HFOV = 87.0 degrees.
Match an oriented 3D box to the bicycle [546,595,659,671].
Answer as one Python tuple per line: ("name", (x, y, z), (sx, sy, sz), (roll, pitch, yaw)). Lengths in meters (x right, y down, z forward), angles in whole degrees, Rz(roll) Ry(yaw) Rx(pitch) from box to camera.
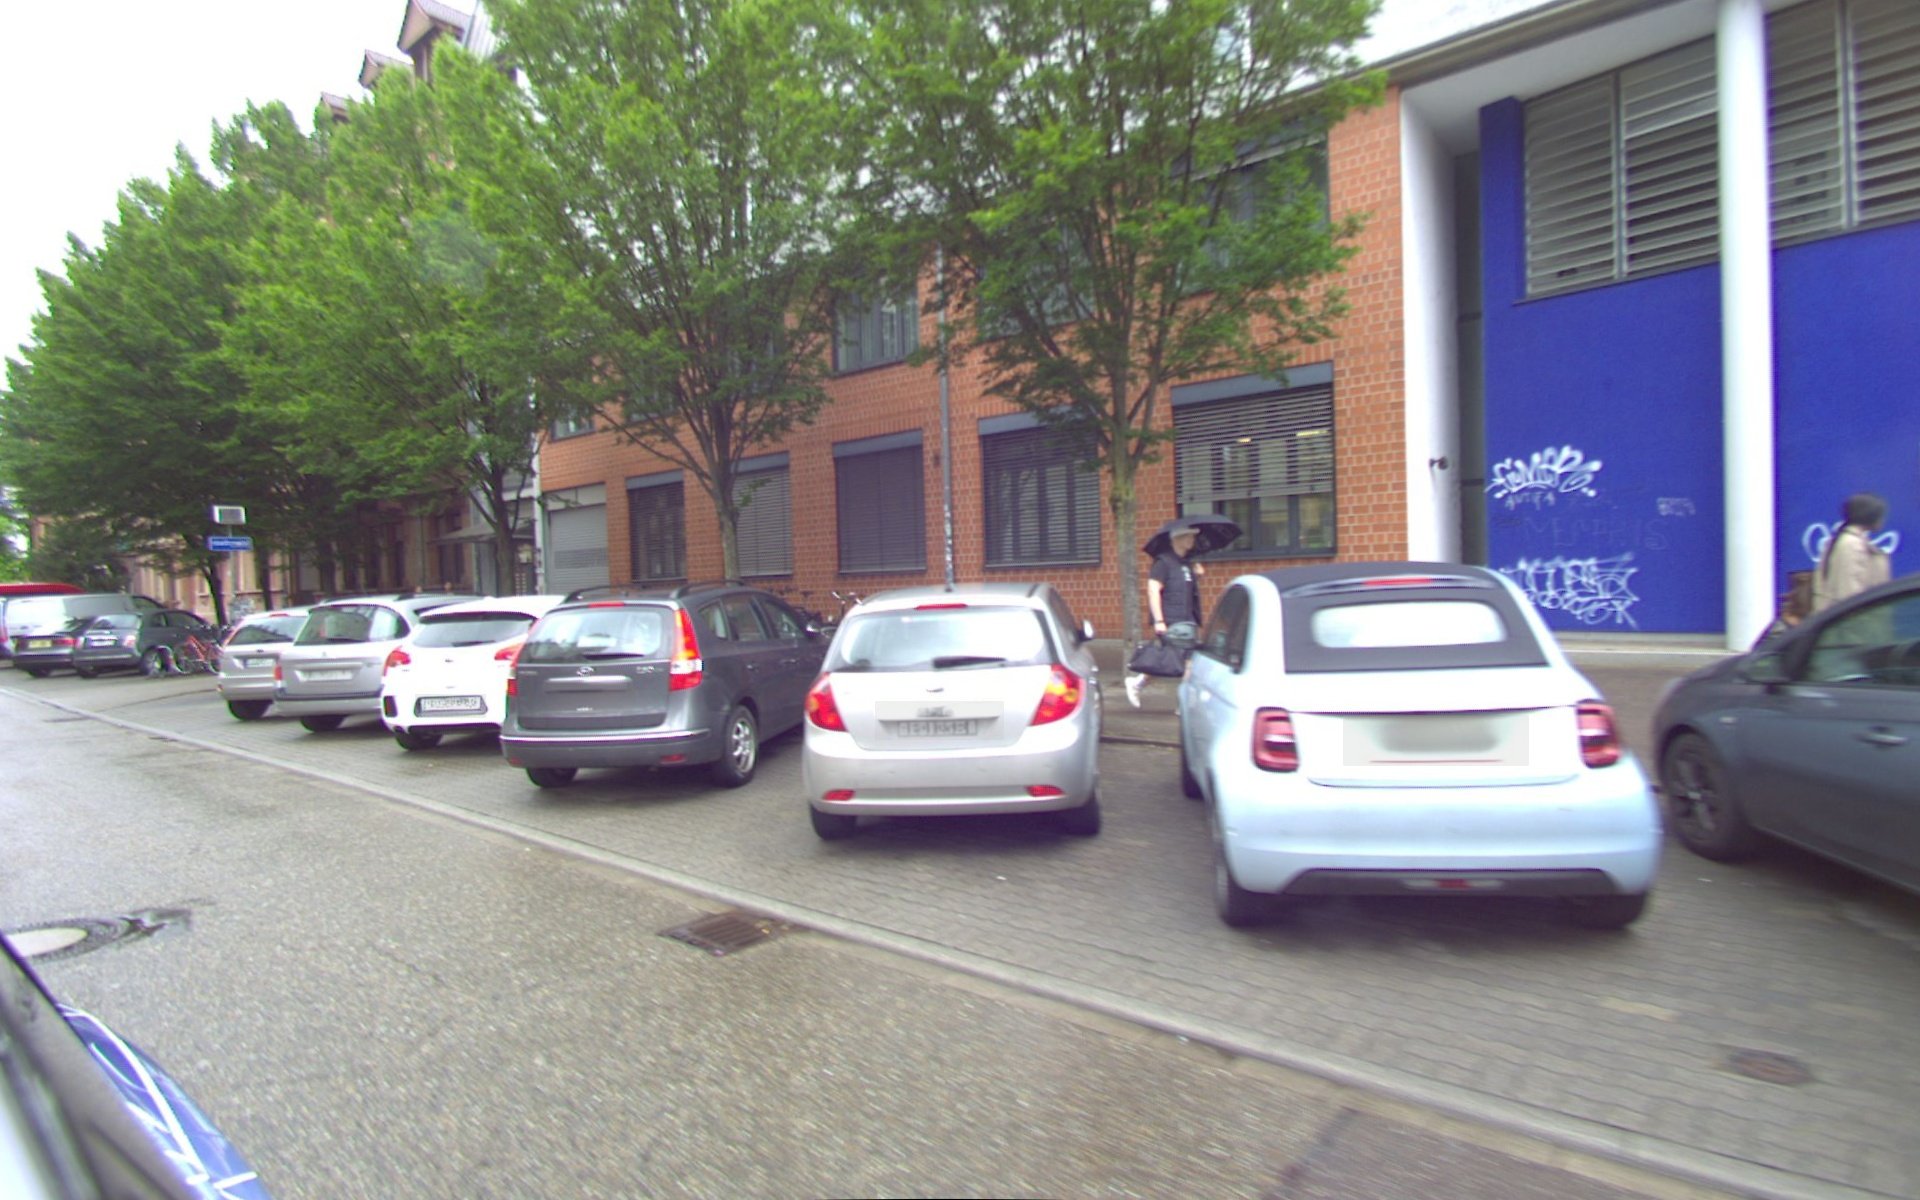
("bicycle", (-6.530, 0.580, 18.578), (0.553, 1.160, 1.879), (-2, 5, 37))

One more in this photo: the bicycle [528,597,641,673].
("bicycle", (-6.972, 0.622, 18.882), (0.553, 1.160, 1.879), (-2, 5, 37))

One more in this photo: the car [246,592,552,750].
("car", (-6.677, 0.769, 12.463), (1.614, 1.667, 3.379), (-1, 0, 7))

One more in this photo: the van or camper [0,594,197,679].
("van or camper", (-24.442, 0.958, 28.544), (2.303, 1.967, 4.700), (-4, 2, -2))

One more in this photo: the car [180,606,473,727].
("car", (-8.782, 0.838, 14.432), (1.664, 1.463, 3.709), (-1, 0, 5))

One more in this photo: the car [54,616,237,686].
("car", (-19.160, 1.145, 23.999), (1.627, 1.446, 3.482), (-1, 0, -3))

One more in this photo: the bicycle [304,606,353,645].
("bicycle", (-21.481, 0.870, 34.409), (2.411, 1.202, 0.660), (-2, 4, 41))

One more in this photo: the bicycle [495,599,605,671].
("bicycle", (-7.979, 0.651, 19.786), (0.553, 1.160, 1.879), (-2, 5, 37))

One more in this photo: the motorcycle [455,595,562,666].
("motorcycle", (-9.484, 0.620, 21.317), (0.656, 1.234, 1.862), (-2, 5, 43))

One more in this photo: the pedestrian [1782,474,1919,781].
("pedestrian", (5.658, 0.138, 6.250), (0.815, 1.765, 0.757), (-5, 2, -43))

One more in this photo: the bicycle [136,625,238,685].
("bicycle", (-16.626, 1.178, 21.761), (2.207, 1.166, 0.744), (-3, 0, 24))

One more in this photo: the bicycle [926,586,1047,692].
("bicycle", (0.385, 0.484, 13.501), (0.553, 1.160, 1.879), (-2, 5, 37))

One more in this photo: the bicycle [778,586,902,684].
("bicycle", (-1.694, 0.465, 14.613), (0.553, 1.160, 1.879), (-2, 5, 37))

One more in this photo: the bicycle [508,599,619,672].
("bicycle", (-7.584, 0.659, 19.432), (0.553, 1.160, 1.879), (-2, 5, 37))

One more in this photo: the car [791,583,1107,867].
("car", (0.104, 0.655, 7.098), (1.660, 1.468, 3.380), (-2, 1, 6))

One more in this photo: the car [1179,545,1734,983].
("car", (2.111, 0.551, 5.313), (1.662, 1.518, 3.377), (-2, 1, 9))

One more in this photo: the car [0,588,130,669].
("car", (-32.054, 0.962, 34.514), (2.206, 2.560, 5.552), (-2, 1, 12))

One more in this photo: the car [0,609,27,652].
("car", (-49.046, 1.611, 49.204), (1.853, 2.094, 5.228), (-1, 1, 15))

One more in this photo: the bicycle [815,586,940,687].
("bicycle", (-1.120, 0.474, 14.191), (0.553, 1.160, 1.879), (-2, 5, 37))

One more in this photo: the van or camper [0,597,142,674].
("van or camper", (-27.262, 1.020, 30.177), (1.760, 1.990, 4.440), (-2, 2, 7))

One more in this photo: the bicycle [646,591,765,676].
("bicycle", (-4.163, 0.526, 16.706), (0.553, 1.160, 1.879), (-2, 5, 37))

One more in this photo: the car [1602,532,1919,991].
("car", (4.166, 0.498, 3.434), (1.967, 1.518, 3.820), (-2, 1, 9))

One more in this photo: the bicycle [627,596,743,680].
("bicycle", (-4.620, 0.611, 17.132), (0.553, 1.160, 1.879), (-2, 5, 37))

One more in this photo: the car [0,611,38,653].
("car", (-44.847, 1.605, 45.568), (2.543, 1.798, 4.535), (-2, 3, 39))

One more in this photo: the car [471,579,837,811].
("car", (-2.333, 0.632, 8.638), (1.662, 1.553, 3.378), (-2, 1, 9))

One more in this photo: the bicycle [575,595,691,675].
("bicycle", (-5.752, 0.596, 17.903), (0.553, 1.160, 1.879), (-2, 5, 37))

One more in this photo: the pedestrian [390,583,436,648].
("pedestrian", (-13.326, 0.370, 24.671), (0.586, 1.507, 0.682), (-2, 4, 35))

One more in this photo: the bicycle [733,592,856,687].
("bicycle", (-2.458, 0.559, 15.240), (0.553, 1.160, 1.879), (-2, 5, 37))

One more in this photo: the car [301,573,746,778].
("car", (-4.408, 0.621, 11.237), (2.314, 1.550, 4.510), (-1, 4, 12))

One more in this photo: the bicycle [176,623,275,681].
("bicycle", (-16.318, 1.150, 22.483), (2.133, 1.166, 0.778), (-3, 0, 24))

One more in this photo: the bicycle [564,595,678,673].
("bicycle", (-6.078, 0.587, 18.250), (0.553, 1.160, 1.879), (-2, 5, 37))

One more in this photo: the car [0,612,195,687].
("car", (-21.545, 1.168, 25.337), (1.743, 1.457, 3.980), (-3, 2, 0))

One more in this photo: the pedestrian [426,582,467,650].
("pedestrian", (-12.780, 0.395, 25.185), (0.588, 1.613, 0.562), (-2, 4, 35))

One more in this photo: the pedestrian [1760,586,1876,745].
("pedestrian", (5.950, 0.434, 7.019), (0.465, 1.024, 0.542), (-5, 2, -43))

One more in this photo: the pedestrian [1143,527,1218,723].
("pedestrian", (2.017, 0.208, 9.244), (0.433, 1.720, 0.605), (1, 2, 40))
